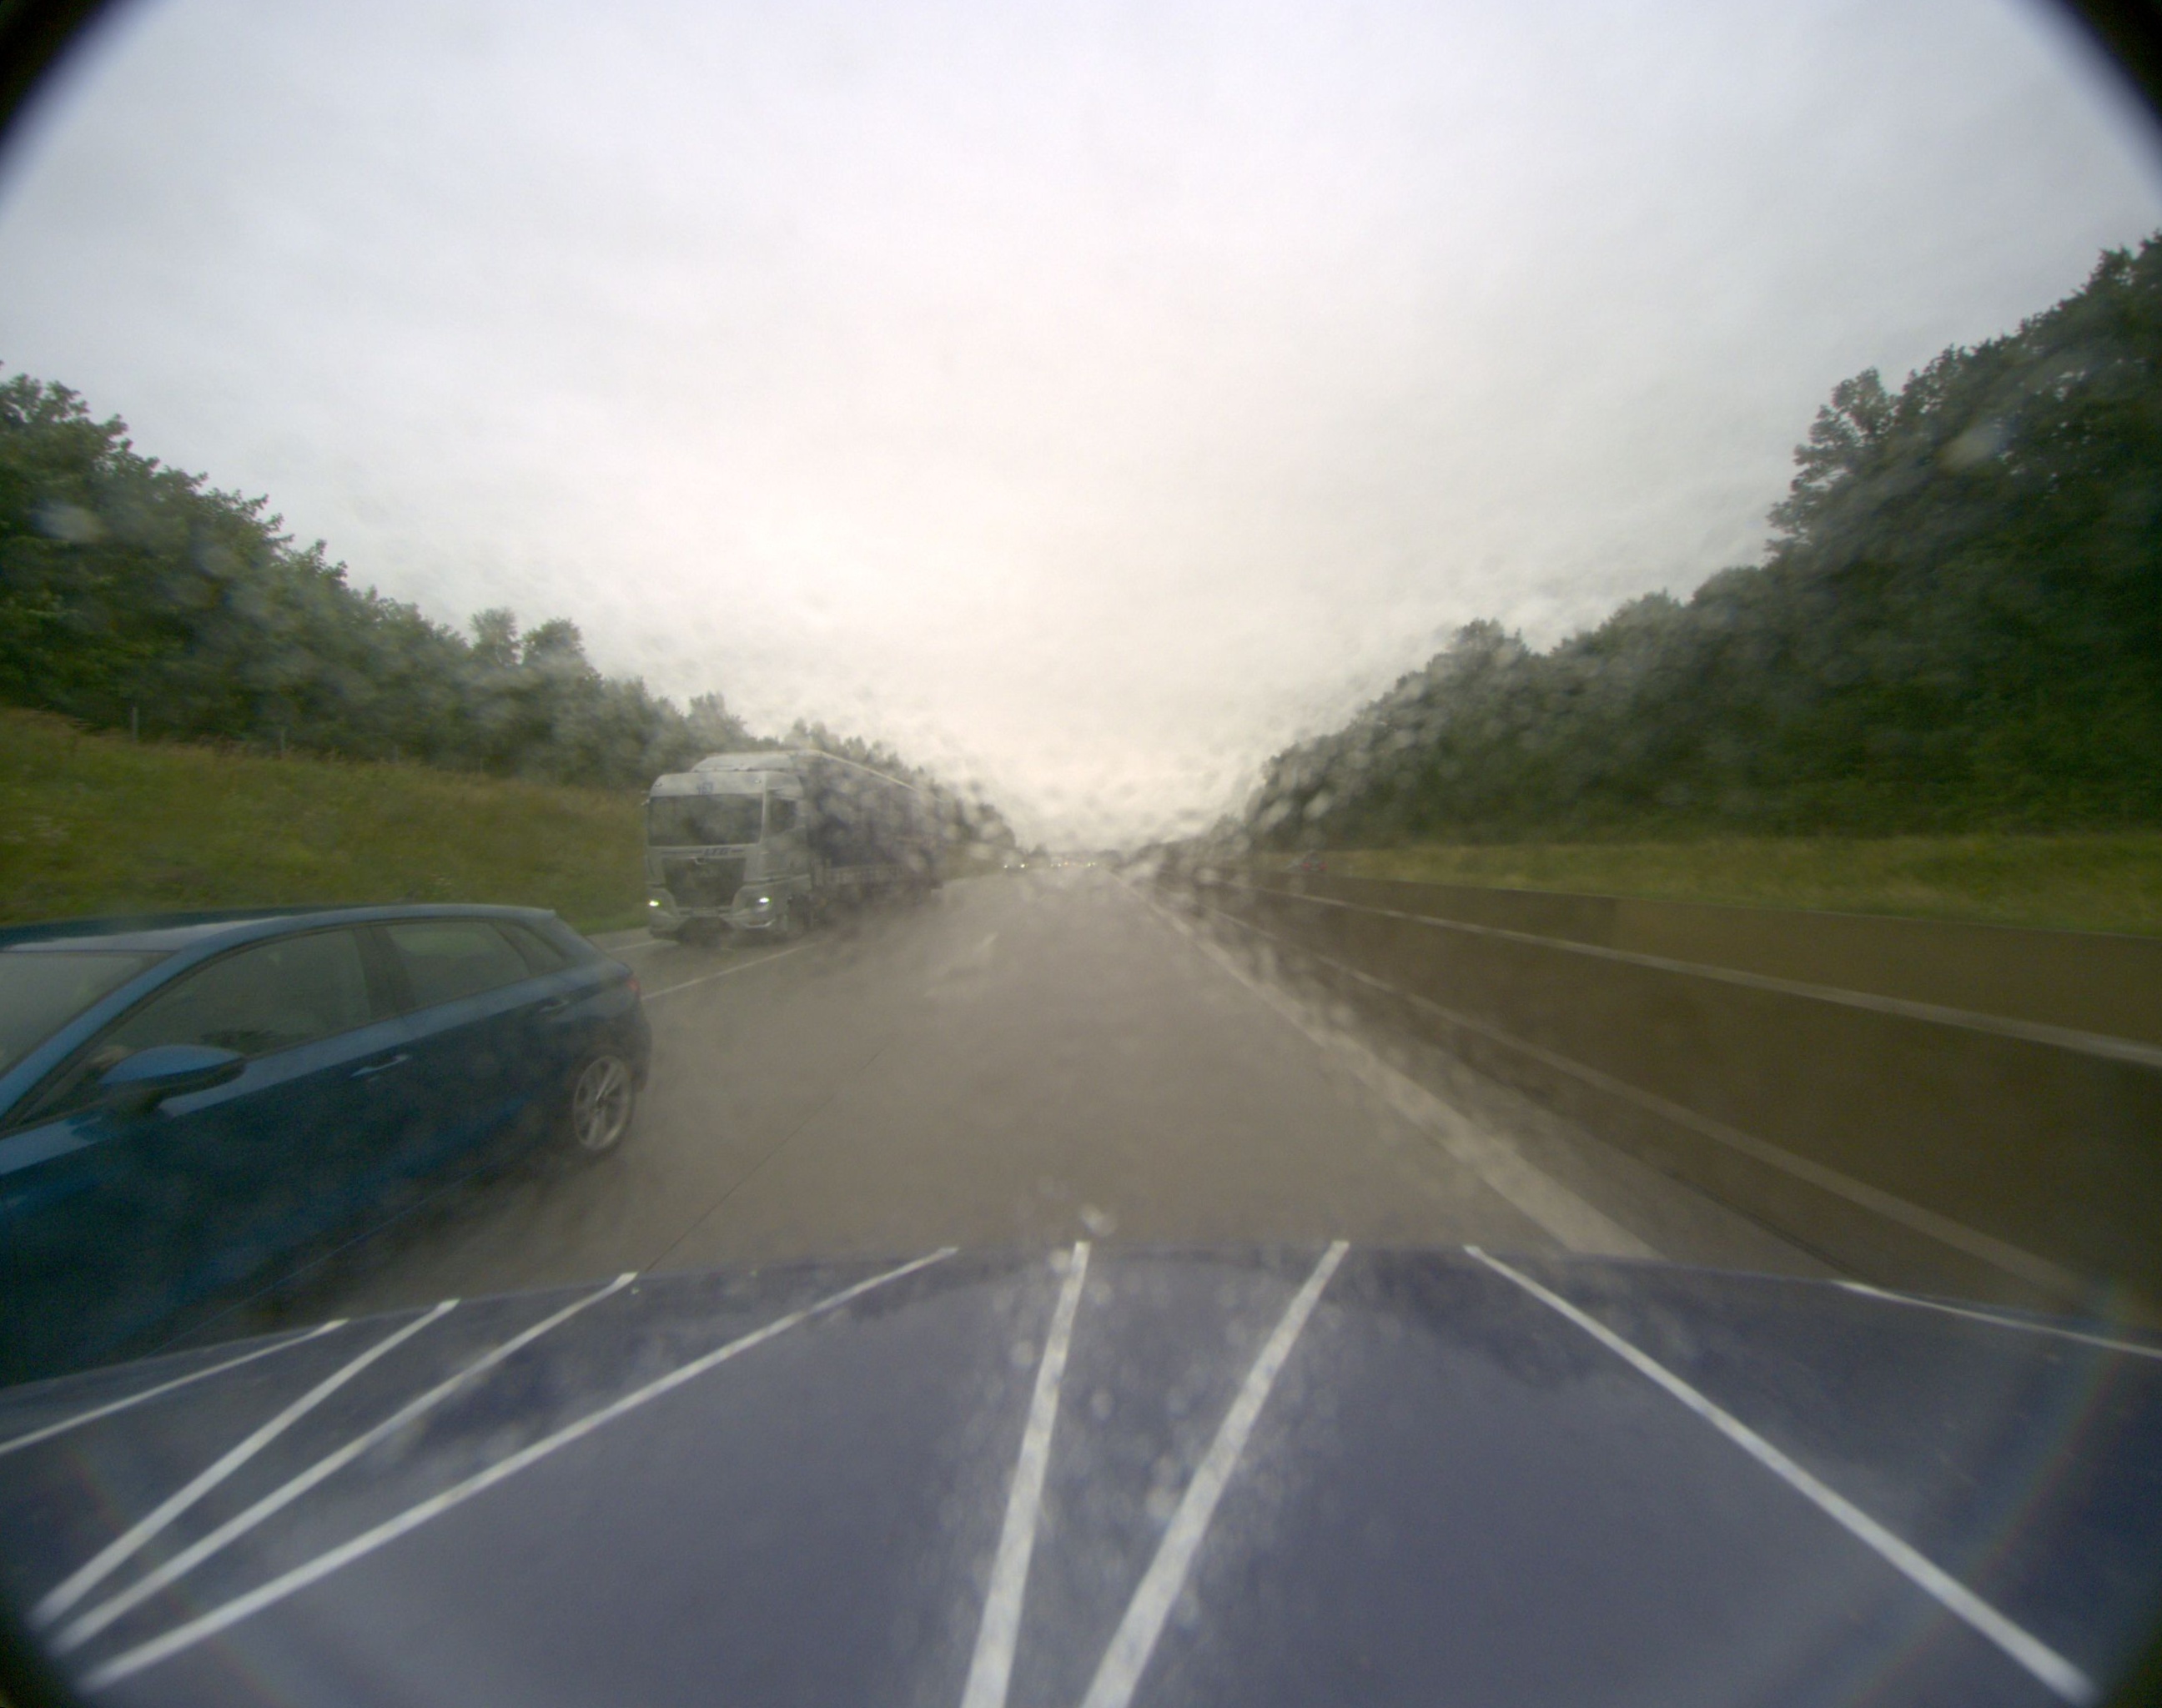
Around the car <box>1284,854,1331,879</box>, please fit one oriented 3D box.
[{"bbox_3d":[16.905,0.901,56.853,2.065,1.791,4.852,-1,0,0],"label":"car"}]

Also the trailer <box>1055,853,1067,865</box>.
[{"bbox_3d":[-4.265,1.065,164.057,2.348,2.445,5.940,-1,0,2],"label":"trailer"}]

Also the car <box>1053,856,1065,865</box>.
[{"bbox_3d":[-4.483,1.351,158.057,1.998,1.575,5.954,-3,-1,2],"label":"car"}]

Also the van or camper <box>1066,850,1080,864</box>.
[{"bbox_3d":[-1.383,0.483,136.258,2.233,2.537,7.950,0,0,2],"label":"van or camper"}]

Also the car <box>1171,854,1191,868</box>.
[{"bbox_3d":[12.600,0.867,96.127,1.973,1.600,4.852,0,0,2],"label":"car"}]

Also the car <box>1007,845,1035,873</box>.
[{"bbox_3d":[-5.951,0.542,76.032,1.945,2.643,6.588,-3,-1,2],"label":"car"}]

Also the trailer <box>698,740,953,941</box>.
[{"bbox_3d":[-6.960,-0.296,24.501,2.713,4.354,15.205,-2,0,1],"label":"trailer"}]

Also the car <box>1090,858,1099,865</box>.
[{"bbox_3d":[2.973,1.559,166.286,1.733,1.450,4.672,-1,1,1],"label":"car"}]

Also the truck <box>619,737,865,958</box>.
[{"bbox_3d":[-7.013,-0.109,16.760,2.643,3.931,5.686,-2,0,1],"label":"truck"}]

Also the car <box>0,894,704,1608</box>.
[{"bbox_3d":[-3.364,1.025,2.582,1.733,1.450,4.672,-1,1,1],"label":"car"}]
